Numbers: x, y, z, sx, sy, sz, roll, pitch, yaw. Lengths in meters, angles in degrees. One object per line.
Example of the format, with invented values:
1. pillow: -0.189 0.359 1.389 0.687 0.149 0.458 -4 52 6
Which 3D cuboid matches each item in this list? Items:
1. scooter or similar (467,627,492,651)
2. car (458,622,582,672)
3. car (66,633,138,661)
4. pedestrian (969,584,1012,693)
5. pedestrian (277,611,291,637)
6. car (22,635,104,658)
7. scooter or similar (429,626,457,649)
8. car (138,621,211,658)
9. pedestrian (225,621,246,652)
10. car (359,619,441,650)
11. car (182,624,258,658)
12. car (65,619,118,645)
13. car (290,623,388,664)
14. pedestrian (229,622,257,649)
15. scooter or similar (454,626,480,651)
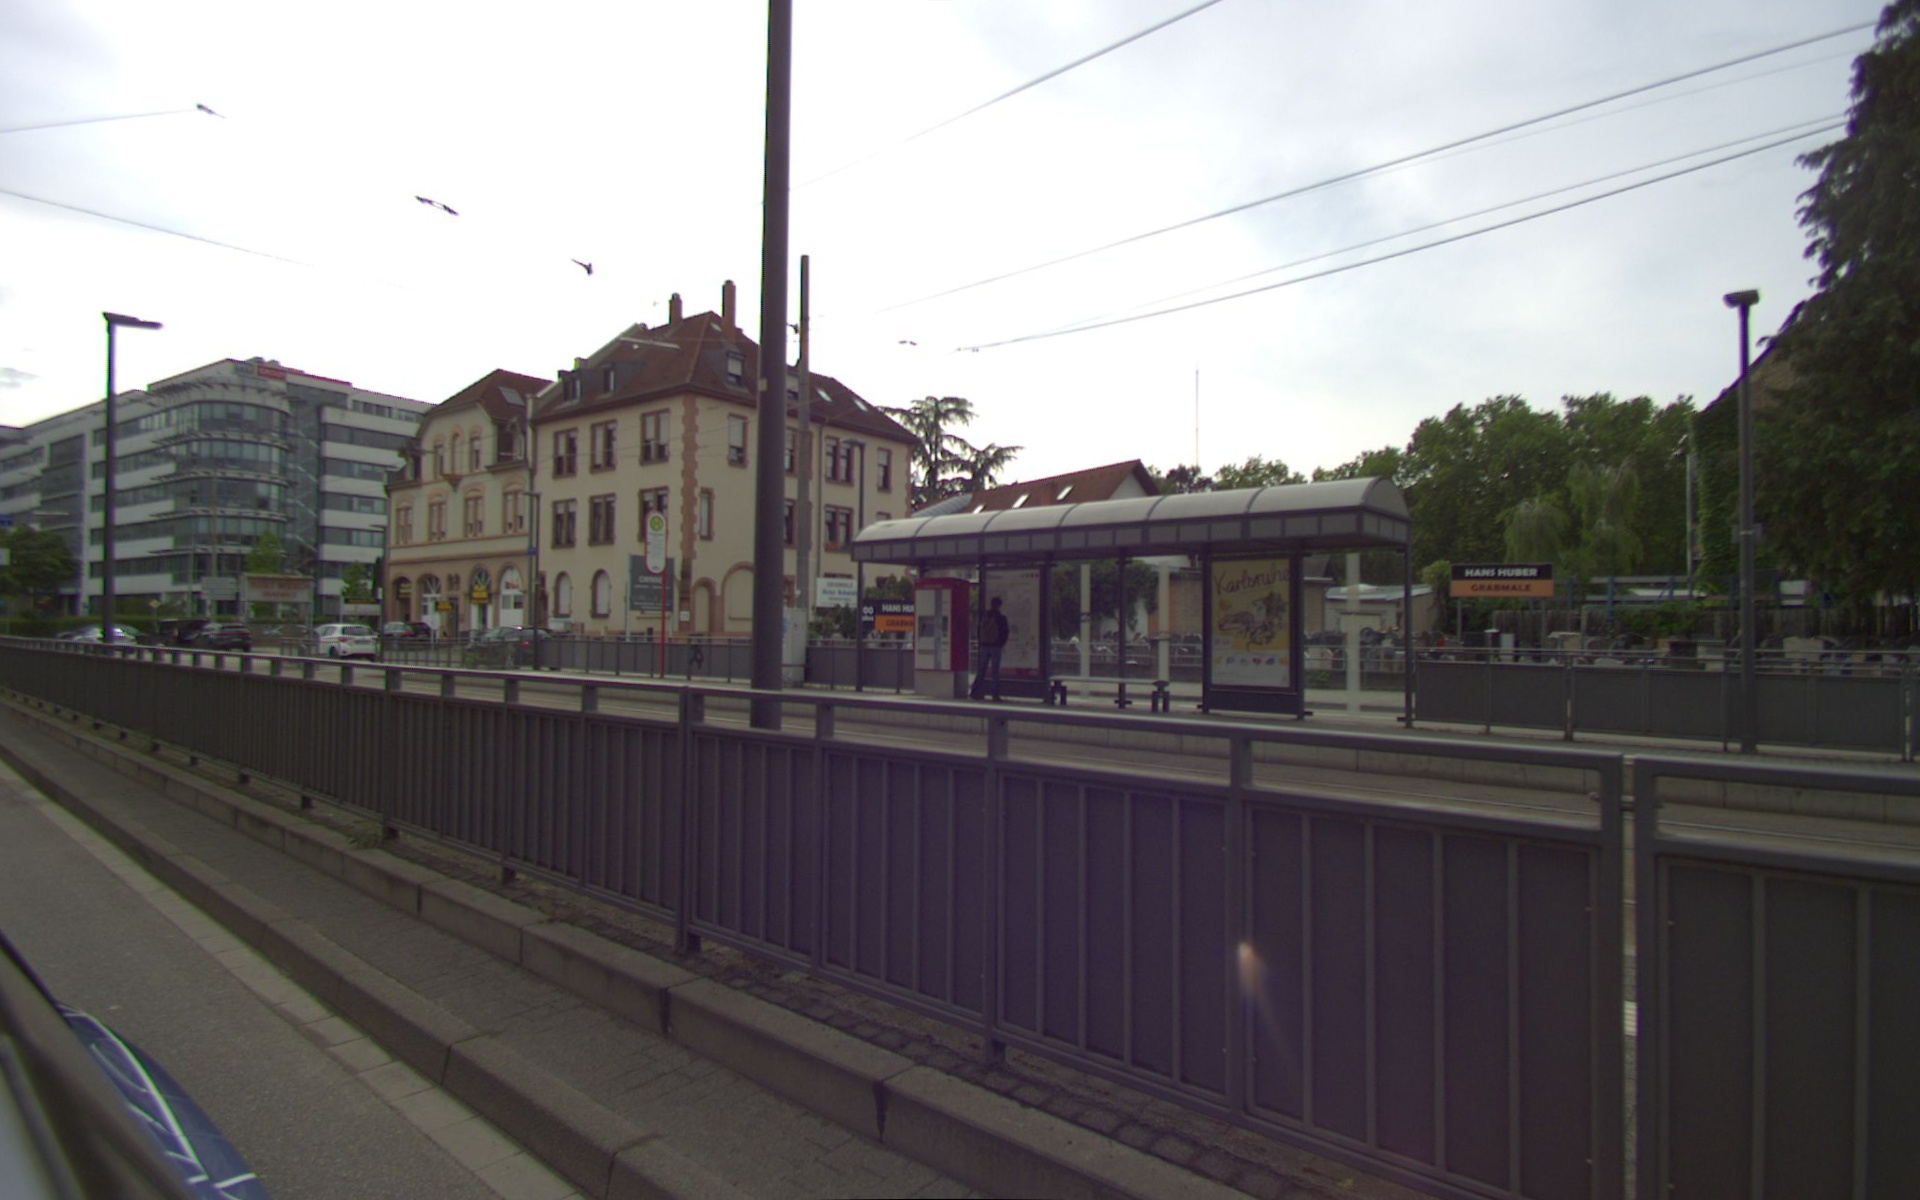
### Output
1. scooter or similar: -22.388 1.804 47.167 0.521 1.110 1.175 0 -1 7
2. car: -13.879 1.458 31.869 3.991 1.462 1.748 0 -3 35
3. car: -44.141 2.393 52.064 3.821 1.308 1.737 0 -2 32
4. pedestrian: 0.484 0.596 15.961 0.610 1.677 0.695 0 -1 8
5. pedestrian: -46.314 1.633 69.322 0.761 1.787 0.628 -1 -1 40
6. car: -60.815 3.157 68.712 3.921 1.462 1.821 2 -2 -35
7. scooter or similar: -26.585 1.919 52.061 0.526 1.110 1.165 -1 1 32
8. car: -46.113 2.266 59.376 5.174 2.029 1.969 0 0 36
9. pedestrian: -44.687 2.251 62.395 1.058 1.839 0.796 -1 -1 38
10. car: -29.547 1.768 53.347 4.893 1.504 1.976 -1 0 37
11. car: -41.275 2.288 56.393 4.523 1.762 2.020 -2 0 34
12. car: -55.273 2.076 64.499 1.765 1.542 4.153 3 -3 -30
13. car: -24.292 1.697 39.545 3.992 1.497 1.847 -1 -4 36
14. pedestrian: -53.635 2.668 75.704 1.180 2.029 1.207 0 -2 21
15. scooter or similar: -23.148 1.808 47.517 0.521 1.110 1.175 0 -1 7
